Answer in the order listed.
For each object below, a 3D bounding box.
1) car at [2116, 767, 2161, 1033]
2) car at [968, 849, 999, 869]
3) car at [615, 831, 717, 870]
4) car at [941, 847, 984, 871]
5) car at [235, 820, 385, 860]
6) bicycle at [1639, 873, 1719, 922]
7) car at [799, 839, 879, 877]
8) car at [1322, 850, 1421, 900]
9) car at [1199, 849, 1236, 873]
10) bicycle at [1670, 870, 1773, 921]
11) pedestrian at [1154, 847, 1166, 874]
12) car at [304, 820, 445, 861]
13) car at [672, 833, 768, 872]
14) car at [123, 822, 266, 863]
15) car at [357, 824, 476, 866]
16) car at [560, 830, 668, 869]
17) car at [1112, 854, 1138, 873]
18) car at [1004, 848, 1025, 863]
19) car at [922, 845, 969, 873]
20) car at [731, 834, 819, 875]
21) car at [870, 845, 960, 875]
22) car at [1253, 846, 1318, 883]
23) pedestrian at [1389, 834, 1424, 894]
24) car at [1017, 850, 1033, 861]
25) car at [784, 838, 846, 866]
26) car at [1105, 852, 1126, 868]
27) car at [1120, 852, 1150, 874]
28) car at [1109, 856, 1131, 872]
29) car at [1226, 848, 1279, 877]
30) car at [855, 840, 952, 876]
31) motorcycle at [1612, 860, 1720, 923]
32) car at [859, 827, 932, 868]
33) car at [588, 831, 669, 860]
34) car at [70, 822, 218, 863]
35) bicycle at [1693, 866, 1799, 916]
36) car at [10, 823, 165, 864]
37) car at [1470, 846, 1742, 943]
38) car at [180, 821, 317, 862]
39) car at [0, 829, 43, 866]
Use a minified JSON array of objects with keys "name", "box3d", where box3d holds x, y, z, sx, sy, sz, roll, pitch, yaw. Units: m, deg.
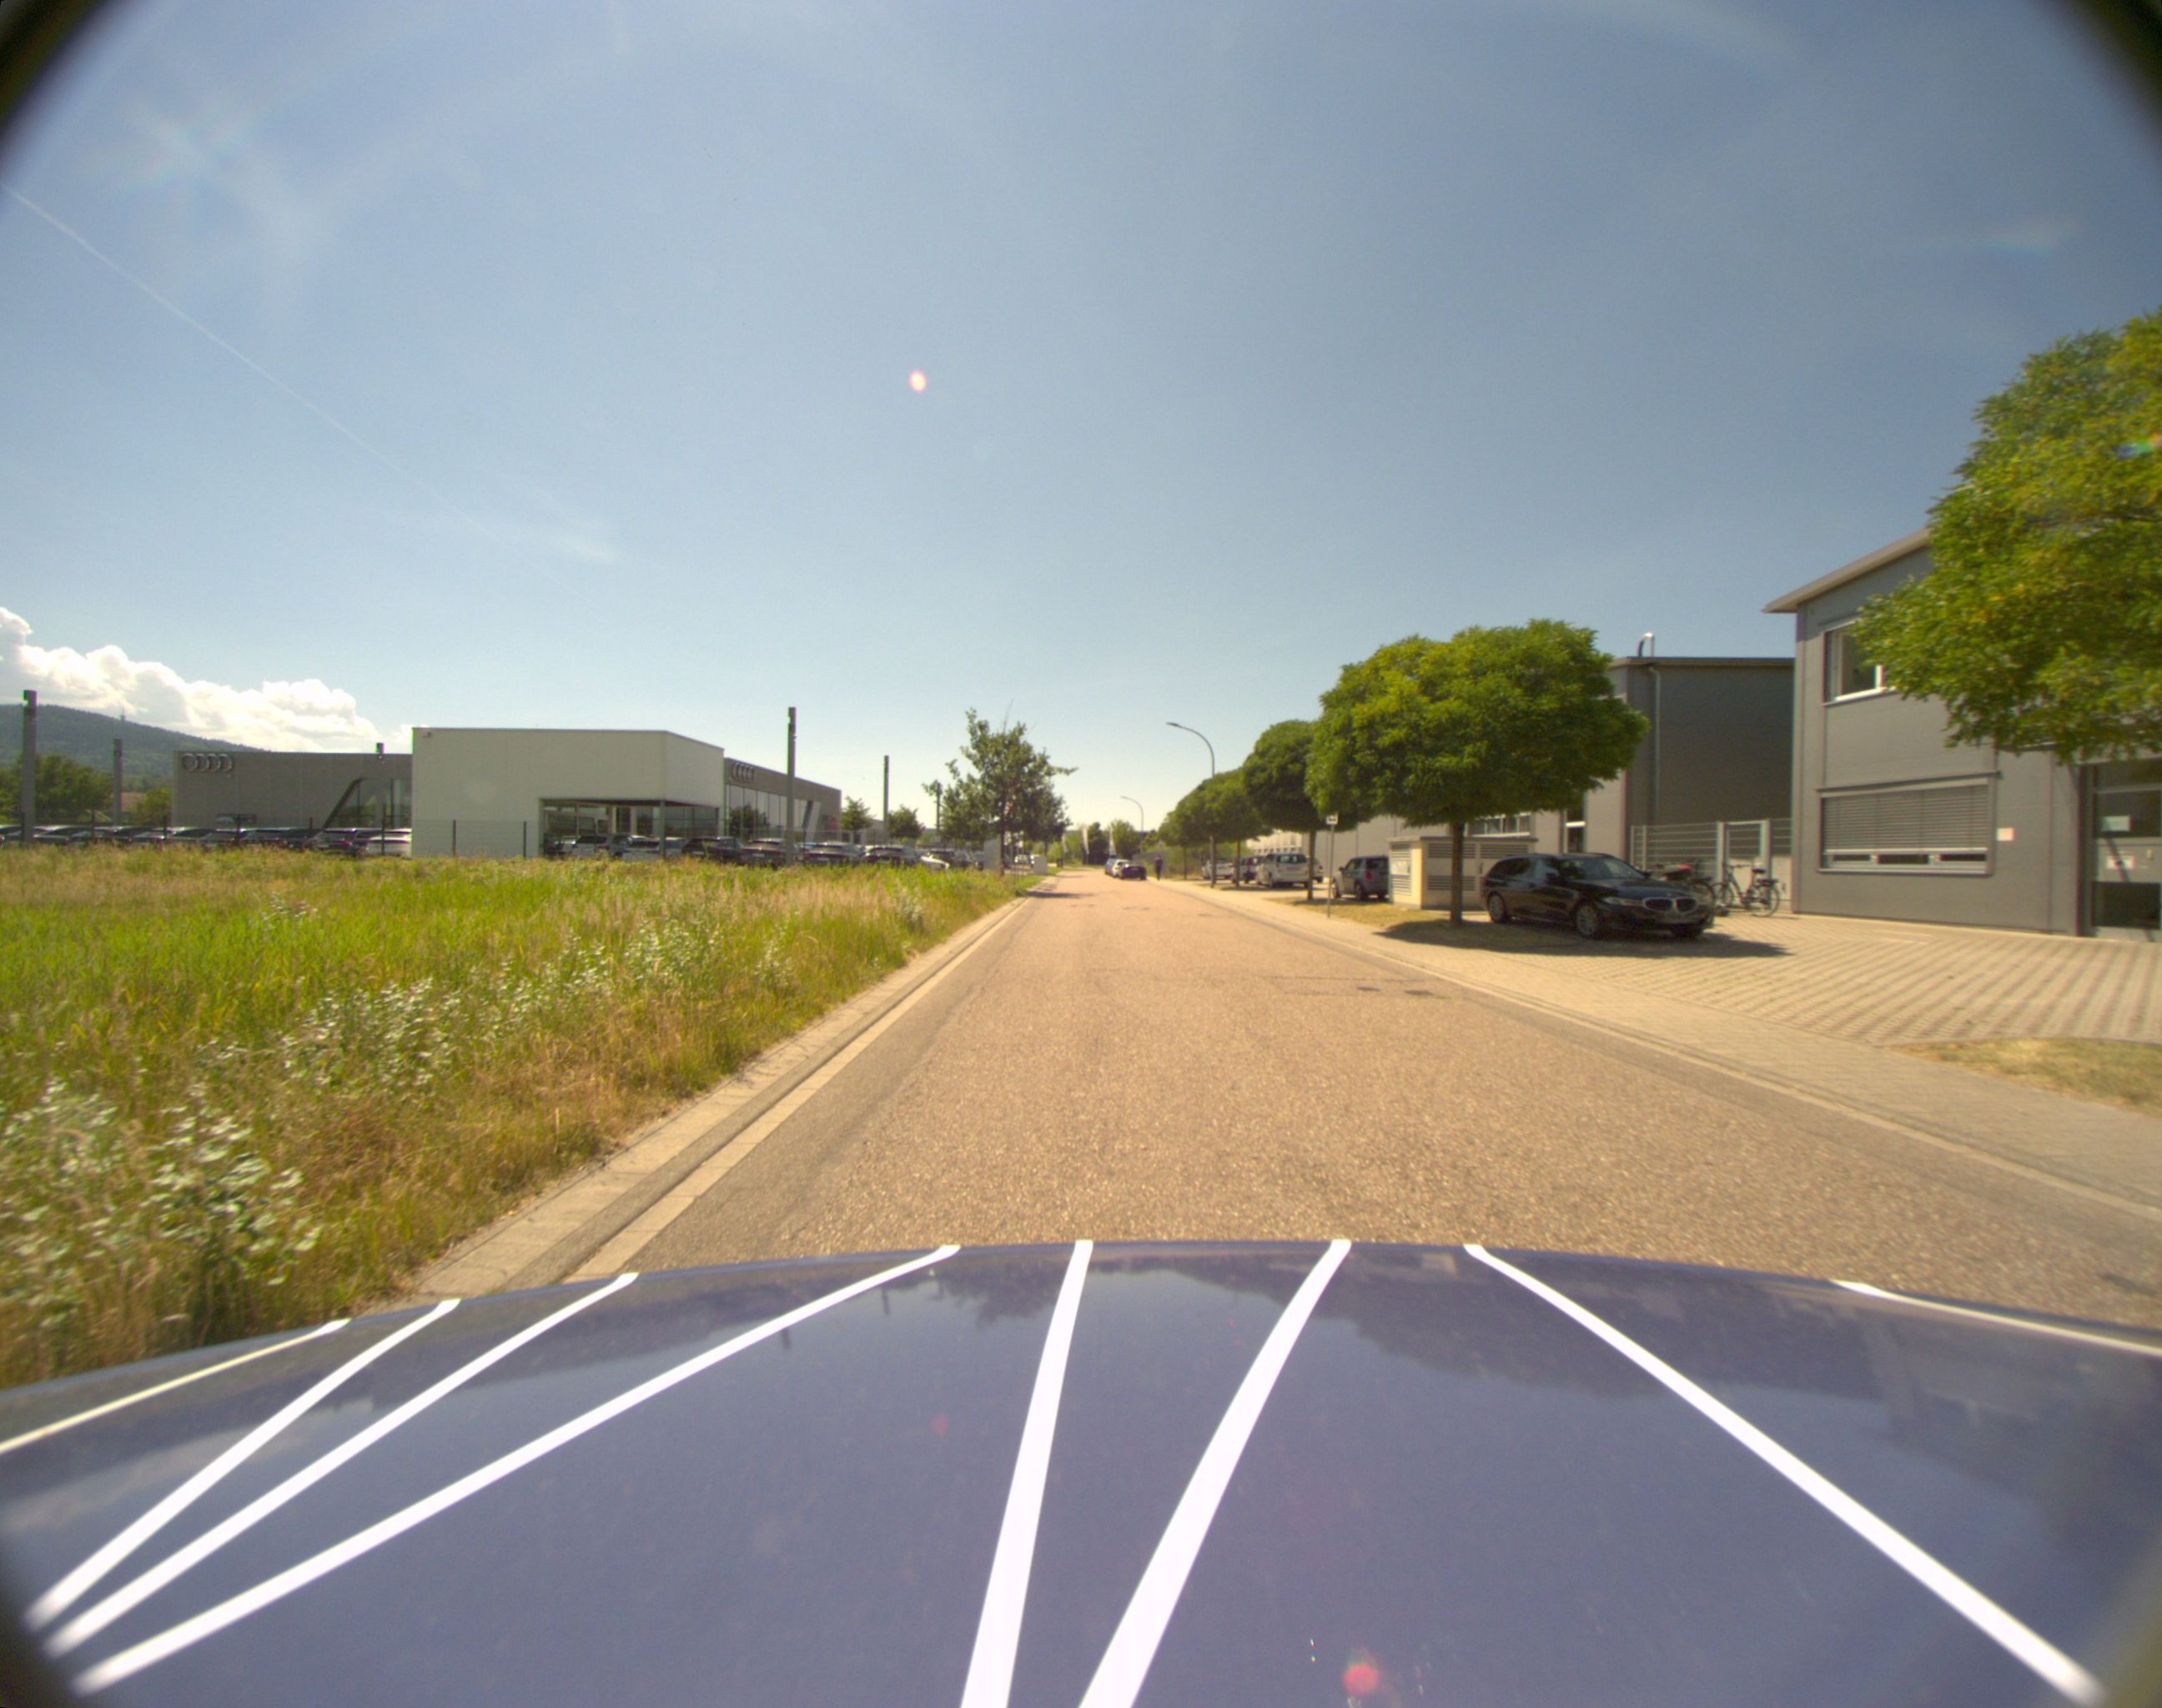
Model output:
[{"name":"car","box3d":[9.160,0.372,3.430,1.842,2.007,5.124,1,0,-2]},{"name":"car","box3d":[-8.186,0.354,64.420,1.966,1.448,4.984,2,2,0]},{"name":"car","box3d":[-19.388,-0.151,35.799,2.030,1.644,4.809,2,0,1]},{"name":"car","box3d":[-8.188,0.323,52.851,2.030,1.505,5.239,4,0,0]},{"name":"car","box3d":[-35.961,-0.610,35.658,2.030,1.715,4.809,2,0,1]},{"name":"bicycle","box3d":[12.954,0.920,16.528,0.352,0.972,1.697,-2,0,-1]},{"name":"car","box3d":[-11.206,0.187,35.581,2.030,1.601,4.809,2,0,1]},{"name":"car","box3d":[9.270,0.617,24.543,1.770,1.445,3.840,-1,0,1]},{"name":"car","box3d":[9.168,0.471,51.488,1.828,1.491,4.328,-2,0,2]},{"name":"bicycle","box3d":[13.849,0.869,16.502,0.436,0.972,2.064,-2,0,-1]},{"name":"pedestrian","box3d":[5.417,0.464,52.212,0.746,1.791,1.135,-2,0,2]},{"name":"car","box3d":[-33.092,-0.591,35.829,2.030,1.715,4.809,2,0,1]},{"name":"car","box3d":[-16.792,-0.068,35.658,2.030,1.670,4.809,2,0,1]},{"name":"car","box3d":[-41.127,-0.515,35.411,1.999,1.774,3.999,1,0,0]},{"name":"car","box3d":[-30.690,-0.409,35.269,1.999,1.774,3.999,1,0,0]},{"name":"car","box3d":[-21.942,-0.208,35.980,2.030,1.644,4.809,2,0,1]},{"name":"car","box3d":[3.492,0.756,61.298,1.829,1.491,4.258,1,0,0]},{"name":"car","box3d":[-7.270,0.170,83.072,1.892,1.562,4.227,4,0,-1]},{"name":"car","box3d":[-8.335,0.302,47.218,2.030,1.564,4.779,2,0,0]},{"name":"car","box3d":[-14.133,0.027,35.454,2.030,1.715,4.809,2,0,1]},{"name":"car","box3d":[-9.241,0.323,42.614,4.540,1.449,2.031,2,0,0]},{"name":"car","box3d":[9.369,0.451,35.187,1.770,1.564,4.539,-1,0,0]},{"name":"pedestrian","box3d":[10.973,0.322,25.599,0.840,1.961,0.967,-1,1,40]},{"name":"car","box3d":[-7.931,0.174,107.804,1.824,1.519,4.944,3,0,-1]},{"name":"car","box3d":[-16.341,-0.125,46.942,2.030,1.580,4.779,2,0,0]},{"name":"car","box3d":[3.529,0.585,78.387,1.829,1.561,4.386,1,0,-1]},{"name":"car","box3d":[3.846,0.641,55.181,1.829,1.491,4.525,1,0,0]},{"name":"car","box3d":[3.634,0.933,71.986,1.829,1.491,4.520,1,0,0]},{"name":"car","box3d":[9.062,0.451,40.377,1.687,1.491,3.703,0,0,-5]},{"name":"car","box3d":[-9.300,0.224,39.970,4.539,1.683,2.032,2,0,2]},{"name":"motorcycle","box3d":[11.753,0.709,15.353,0.516,1.155,2.081,-2,0,-1]},{"name":"car","box3d":[-8.635,-0.284,35.801,2.030,1.683,5.108,2,0,1]},{"name":"car","box3d":[-27.282,-0.469,46.043,2.030,1.580,4.779,2,0,0]},{"name":"car","box3d":[-43.502,-0.519,35.437,1.999,1.774,3.999,1,0,0]},{"name":"bicycle","box3d":[14.393,0.761,16.523,0.436,0.972,2.064,-2,0,-1]},{"name":"car","box3d":[-46.146,-0.476,35.463,1.999,1.774,3.999,1,0,0]},{"name":"car","box3d":[9.337,0.628,14.114,1.770,1.445,4.714,-2,0,0]},{"name":"car","box3d":[-38.527,-0.547,35.339,1.999,1.774,3.999,1,0,0]},{"name":"car","box3d":[-52.332,-0.309,35.551,1.999,1.774,3.999,1,0,0]}]
